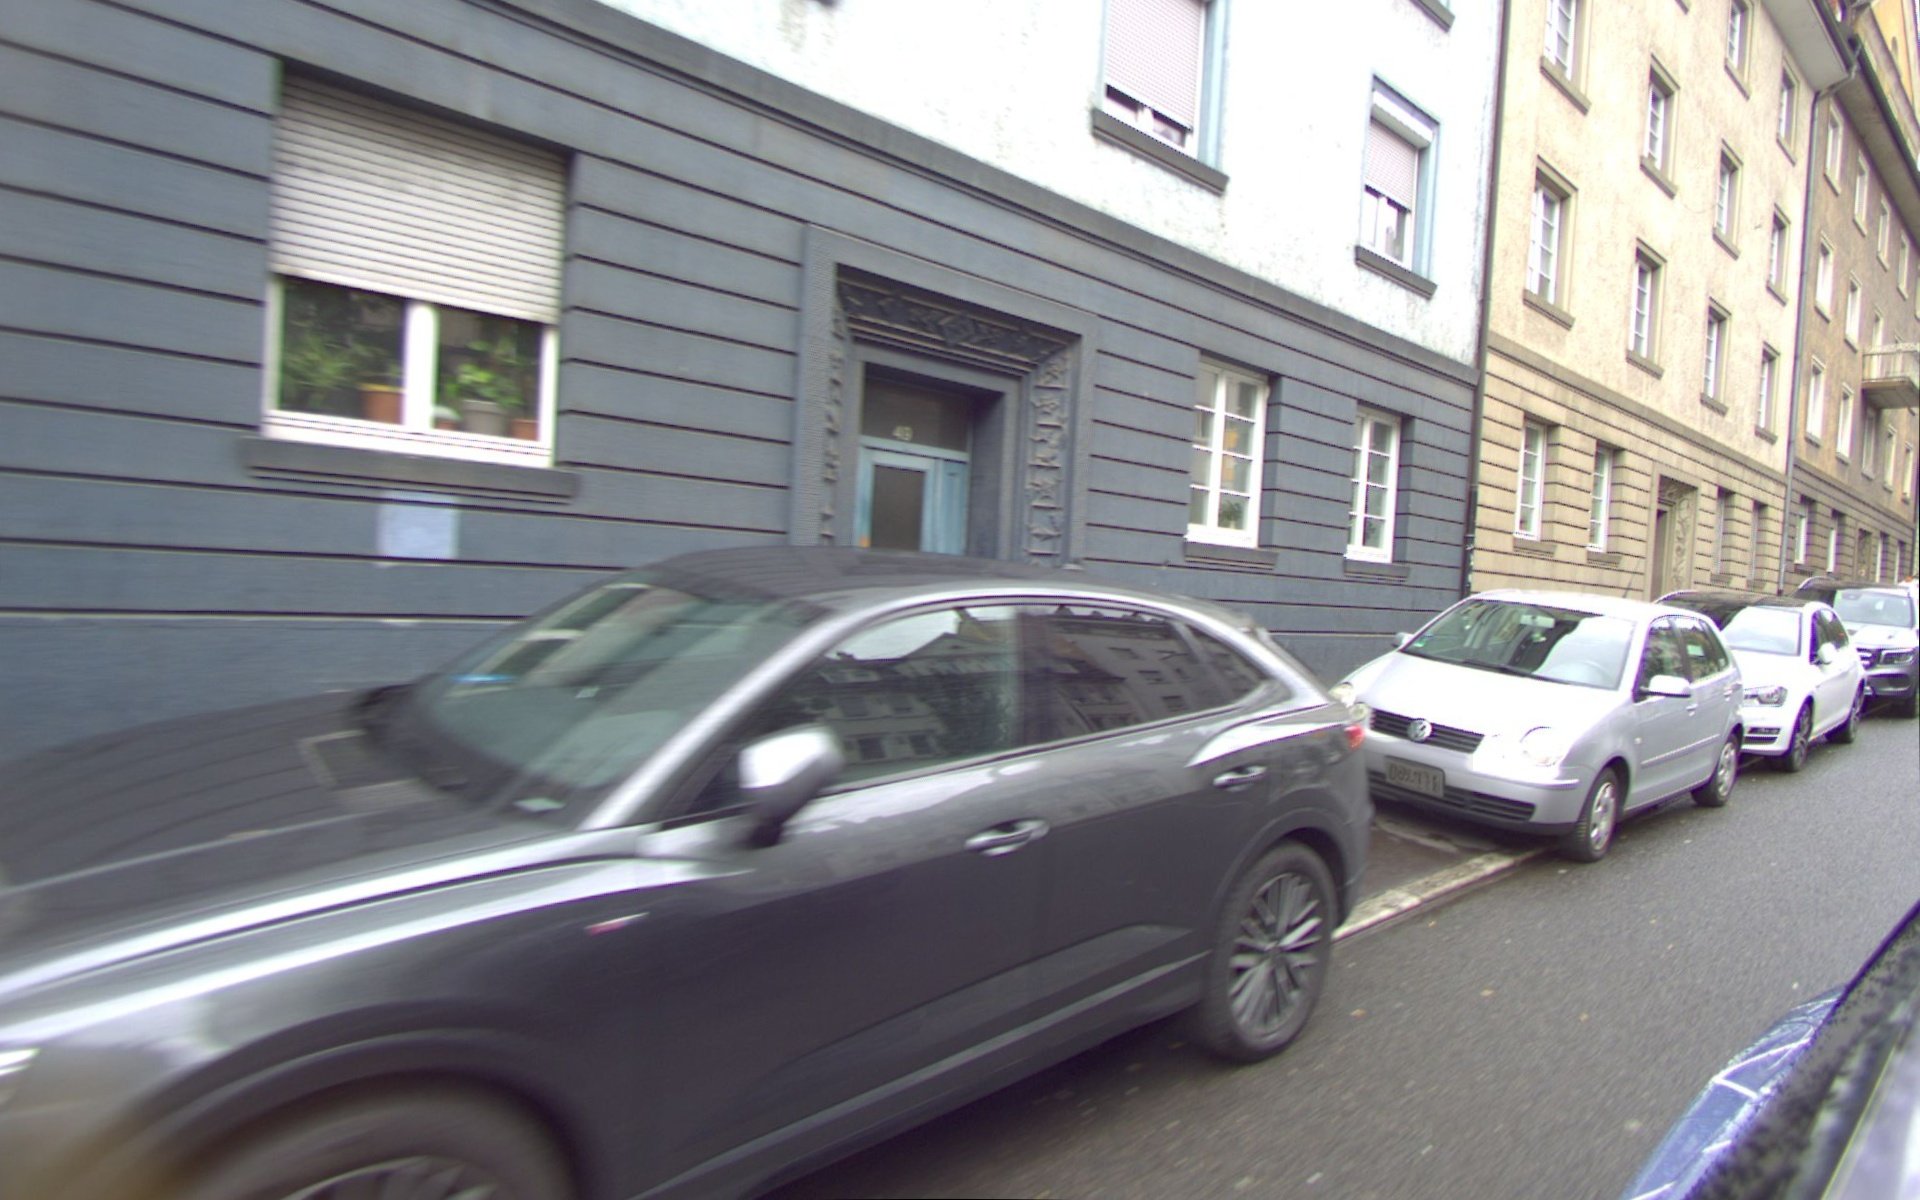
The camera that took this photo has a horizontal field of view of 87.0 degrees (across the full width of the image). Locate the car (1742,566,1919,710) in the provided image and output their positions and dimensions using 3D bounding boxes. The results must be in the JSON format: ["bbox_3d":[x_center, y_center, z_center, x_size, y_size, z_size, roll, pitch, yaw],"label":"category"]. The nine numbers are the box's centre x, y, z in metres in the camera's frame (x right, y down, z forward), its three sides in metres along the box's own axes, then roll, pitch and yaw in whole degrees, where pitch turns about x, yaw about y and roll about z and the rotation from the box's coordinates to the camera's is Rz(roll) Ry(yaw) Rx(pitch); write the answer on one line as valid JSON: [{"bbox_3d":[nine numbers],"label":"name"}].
[{"bbox_3d":[12.480,0.404,13.968,4.135,1.640,1.845,-1,4,-41],"label":"car"}]

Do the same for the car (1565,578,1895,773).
[{"bbox_3d":[7.750,0.587,10.063,3.903,1.446,1.734,0,5,-40],"label":"car"}]

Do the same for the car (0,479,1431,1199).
[{"bbox_3d":[-0.528,0.560,3.031,4.216,1.576,1.823,0,4,-40],"label":"car"}]

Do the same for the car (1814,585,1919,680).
[{"bbox_3d":[16.715,0.514,17.842,4.312,1.426,1.845,-1,5,-41],"label":"car"}]

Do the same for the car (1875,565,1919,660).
[{"bbox_3d":[20.615,0.274,21.027,4.008,1.839,1.795,0,4,-40],"label":"car"}]

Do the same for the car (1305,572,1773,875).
[{"bbox_3d":[4.070,0.616,6.917,3.531,1.446,1.587,0,5,-40],"label":"car"}]
